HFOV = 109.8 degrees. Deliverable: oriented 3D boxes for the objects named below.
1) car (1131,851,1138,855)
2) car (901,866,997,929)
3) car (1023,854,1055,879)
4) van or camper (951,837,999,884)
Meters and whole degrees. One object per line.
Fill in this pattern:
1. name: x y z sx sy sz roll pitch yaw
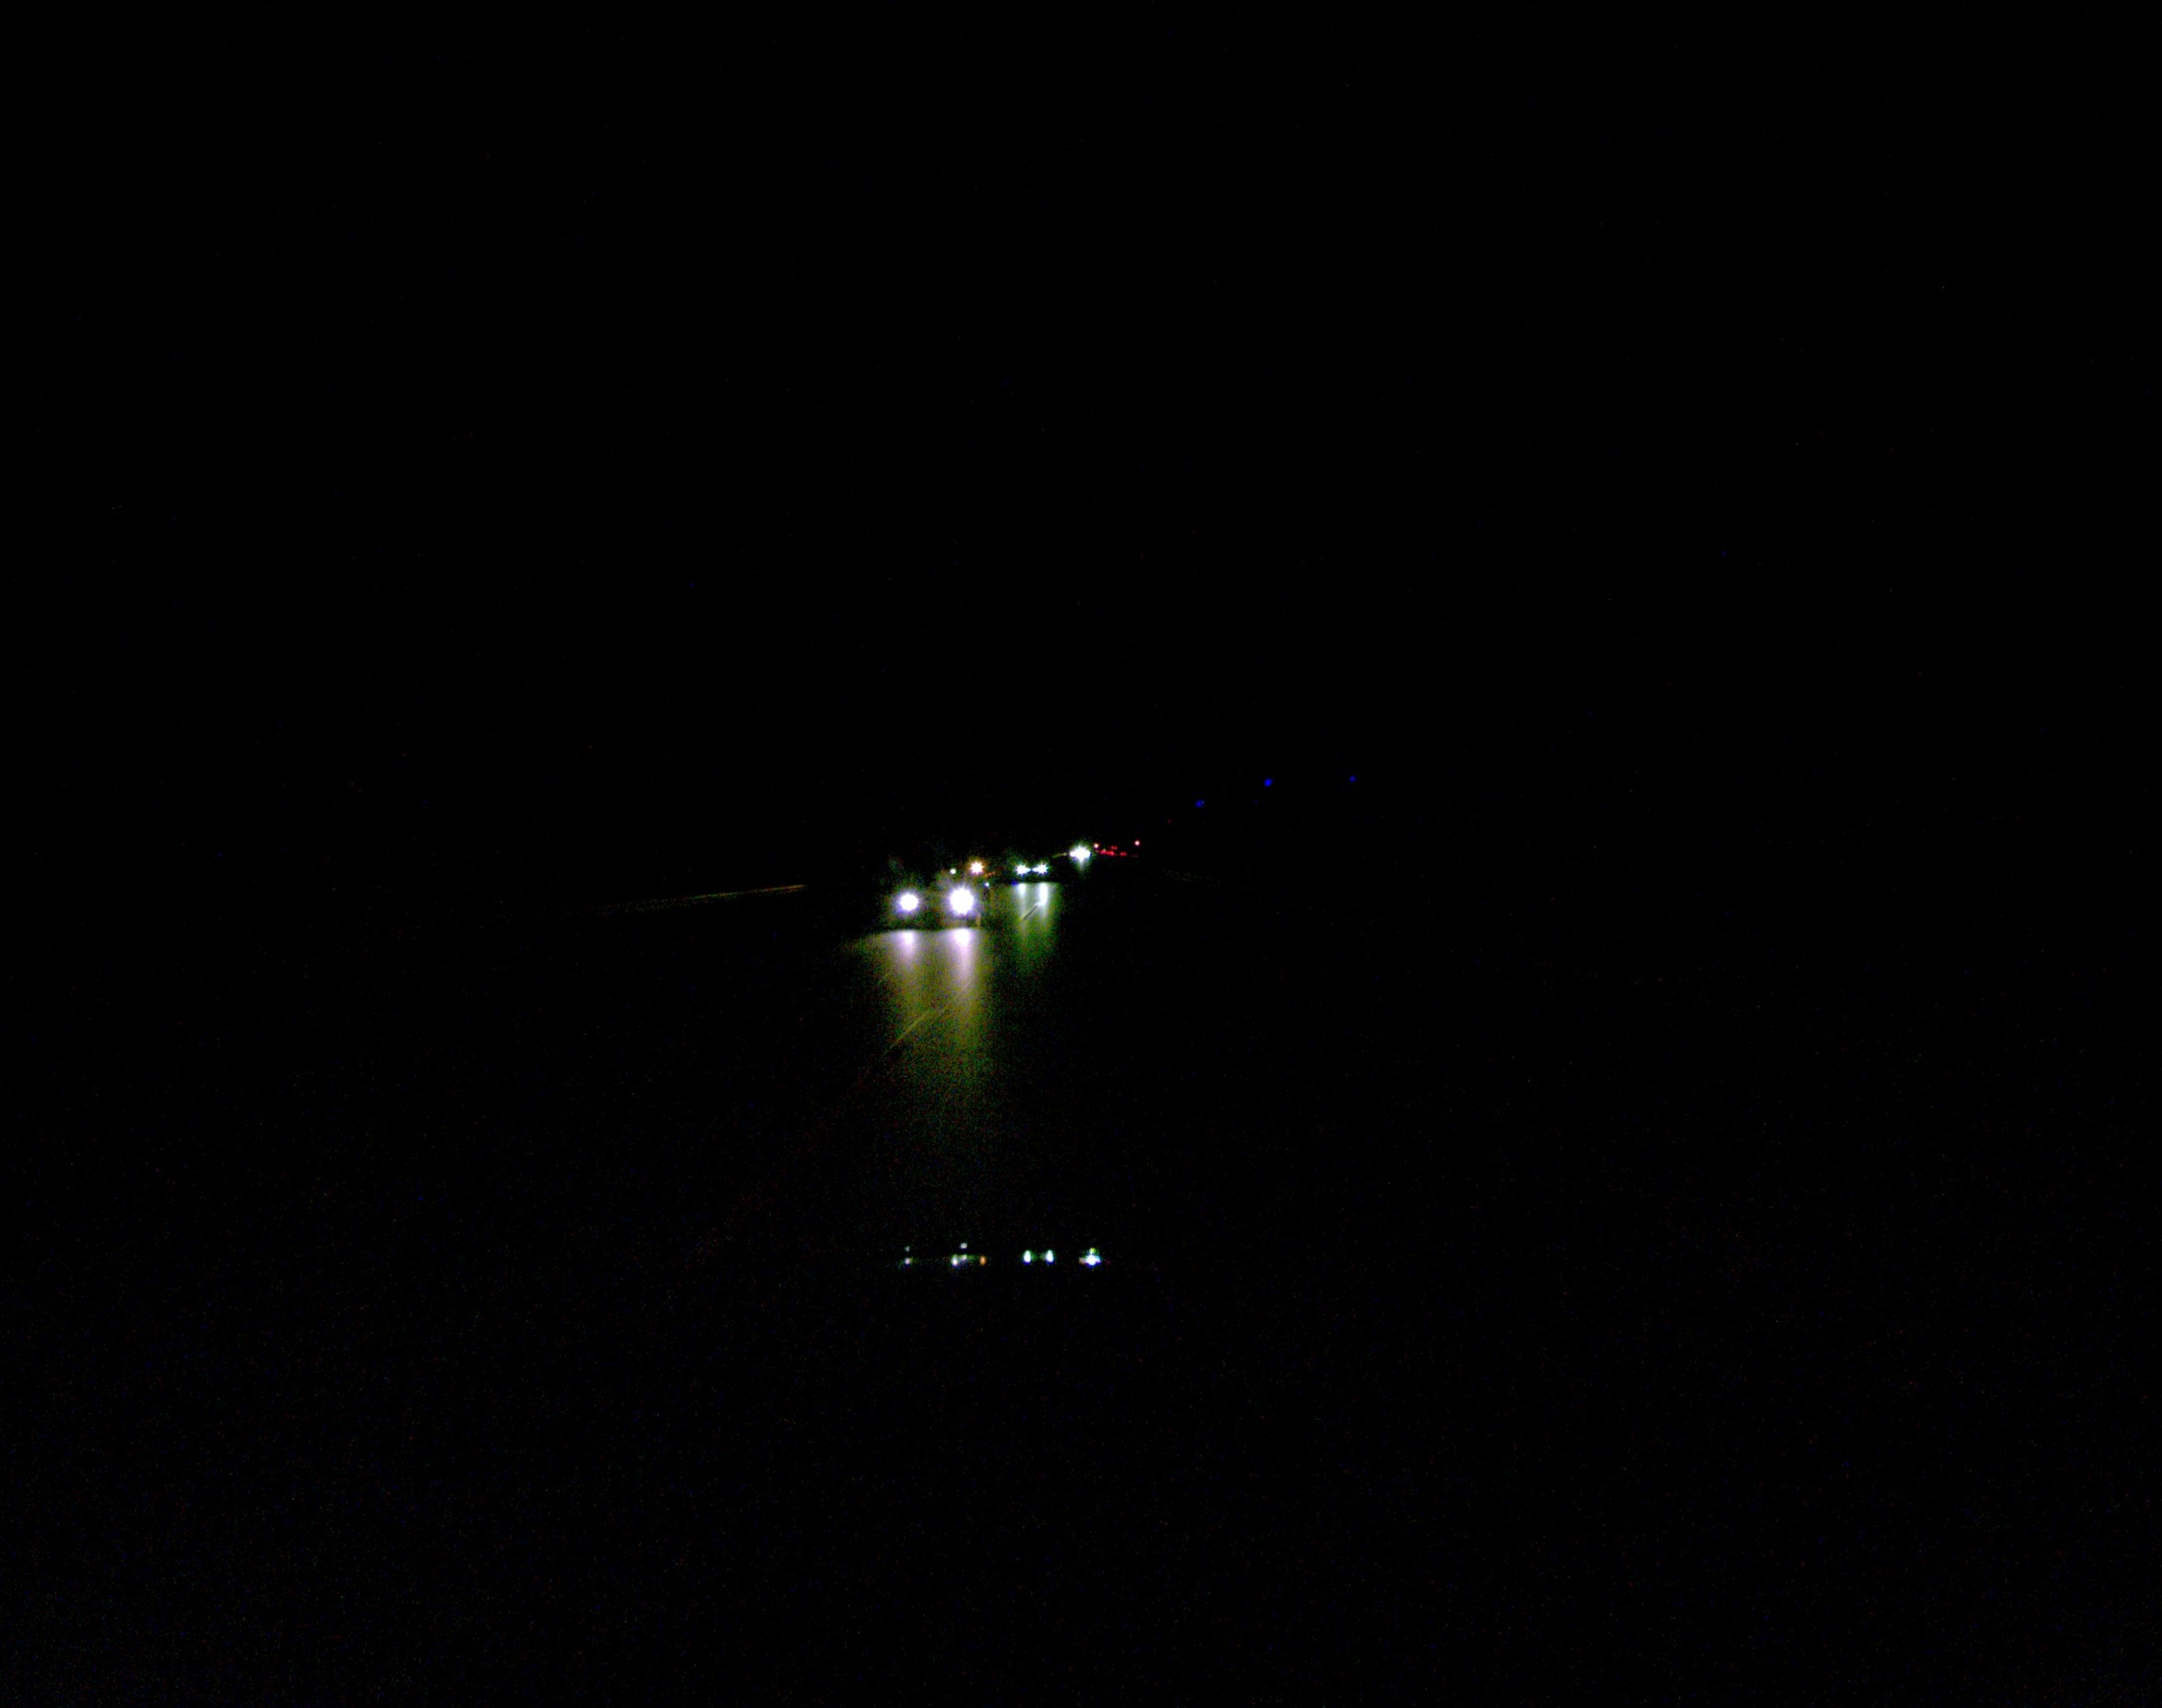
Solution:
1. car: 19.068 -0.407 268.745 1.999 1.495 5.200 0 0 -1
2. car: -3.326 1.055 19.948 1.690 1.405 4.226 -2 -1 0
3. car: -2.768 0.803 50.895 1.795 1.532 4.225 -2 0 0
4. van or camper: -6.724 0.397 49.142 2.213 2.755 6.802 -3 0 -2
